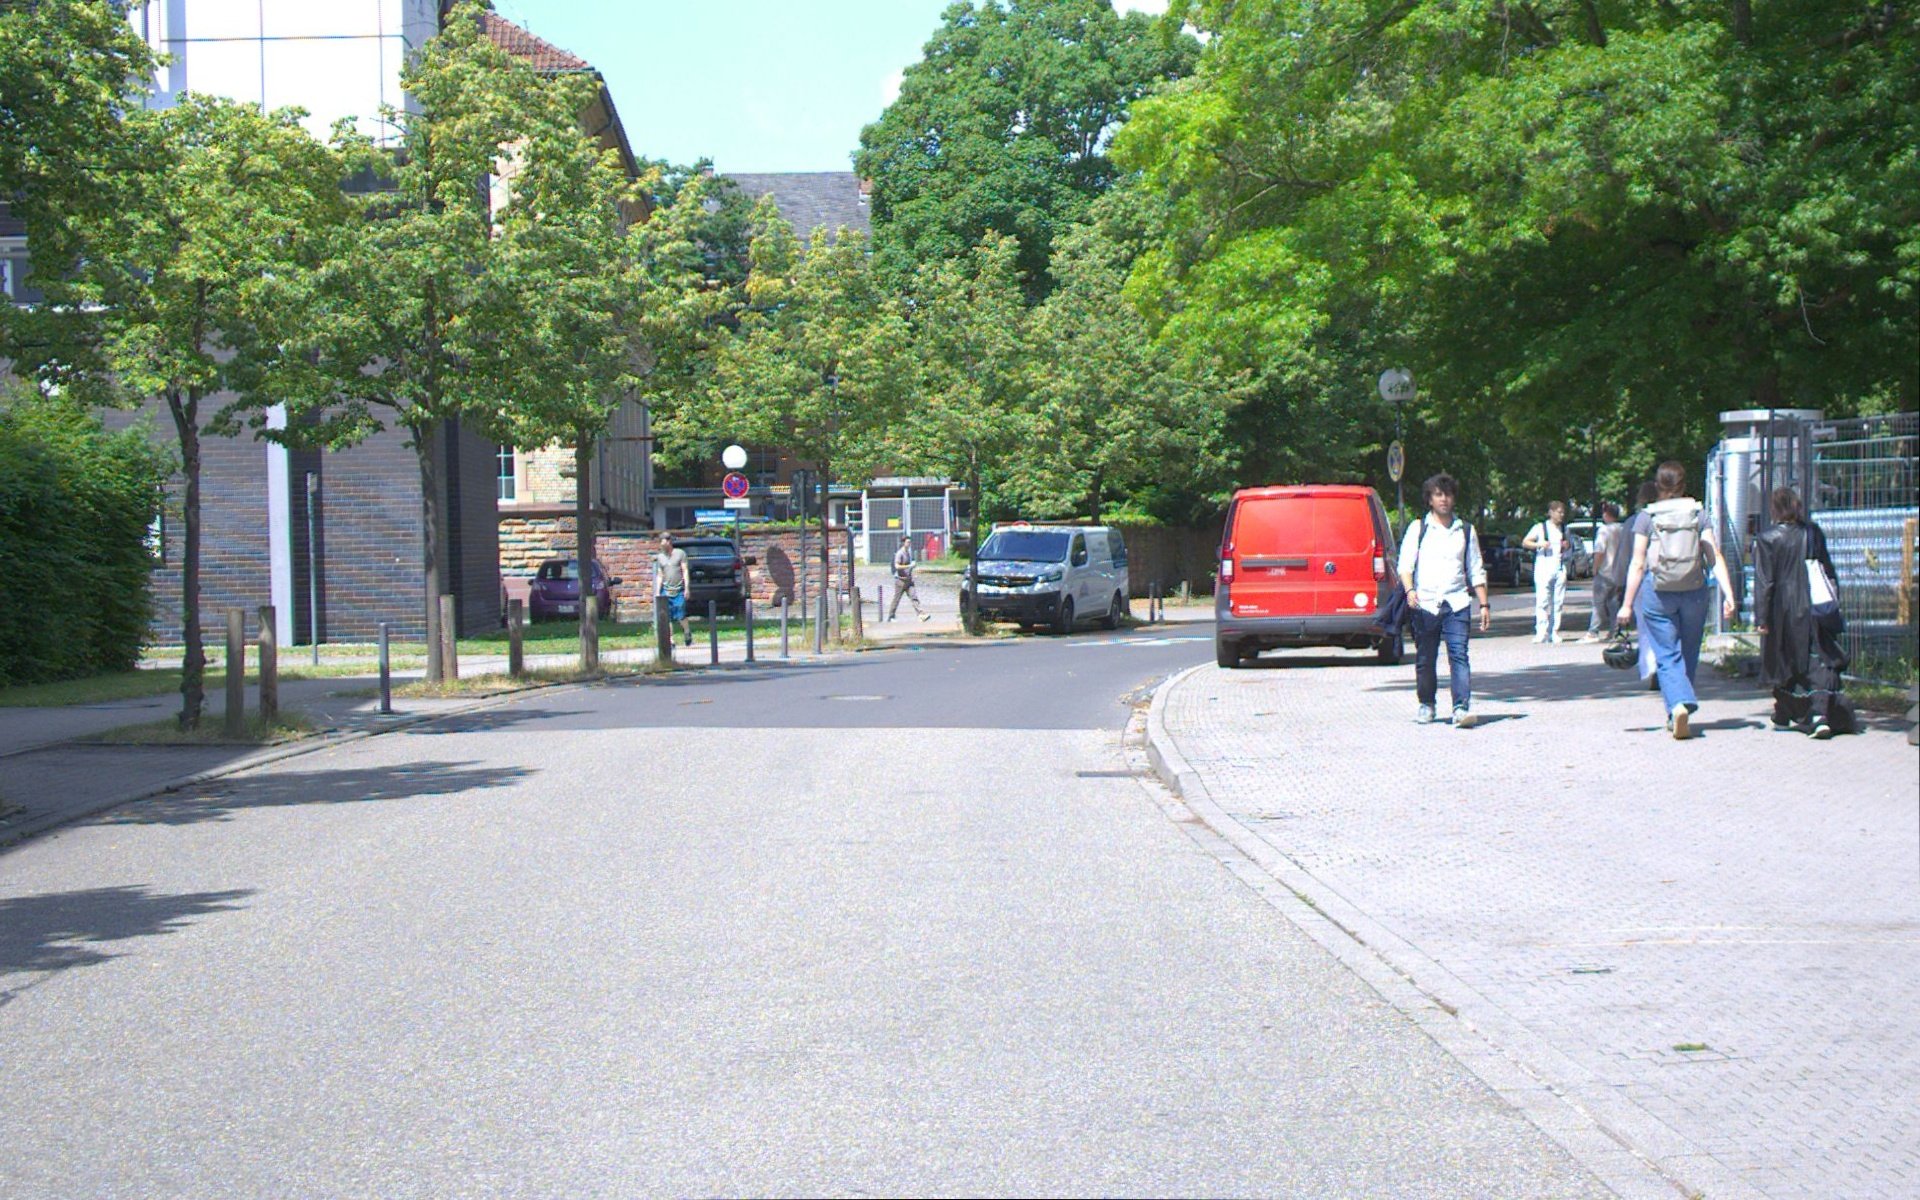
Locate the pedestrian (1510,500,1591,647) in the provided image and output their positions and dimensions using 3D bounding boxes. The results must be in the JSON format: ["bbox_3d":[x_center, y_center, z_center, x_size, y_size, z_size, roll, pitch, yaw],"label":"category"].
[{"bbox_3d":[7.363,-0.332,42.861,0.721,1.815,0.630,-2,1,-38],"label":"pedestrian"}]

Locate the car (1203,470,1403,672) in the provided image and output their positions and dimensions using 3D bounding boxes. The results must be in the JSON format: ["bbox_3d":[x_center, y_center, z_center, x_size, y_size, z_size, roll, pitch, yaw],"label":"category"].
[{"bbox_3d":[3.615,-0.326,35.580,1.849,1.885,4.889,-2,1,8],"label":"car"}]

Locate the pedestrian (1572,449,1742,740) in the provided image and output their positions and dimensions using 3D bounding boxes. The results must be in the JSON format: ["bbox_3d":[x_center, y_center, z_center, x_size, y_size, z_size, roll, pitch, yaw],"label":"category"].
[{"bbox_3d":[4.334,-0.039,21.420,0.850,1.758,0.716,-2,1,-1],"label":"pedestrian"}]

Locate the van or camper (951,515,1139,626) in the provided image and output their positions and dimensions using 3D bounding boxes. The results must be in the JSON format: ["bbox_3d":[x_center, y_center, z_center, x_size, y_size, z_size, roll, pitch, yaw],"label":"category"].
[{"bbox_3d":[1.598,-0.566,62.235,1.955,1.916,5.416,0,1,18],"label":"van or camper"}]

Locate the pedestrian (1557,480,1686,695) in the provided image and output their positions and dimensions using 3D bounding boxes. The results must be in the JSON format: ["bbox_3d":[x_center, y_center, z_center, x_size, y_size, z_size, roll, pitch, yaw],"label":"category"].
[{"bbox_3d":[5.130,-0.099,26.688,0.712,1.626,0.711,-2,1,-15],"label":"pedestrian"}]

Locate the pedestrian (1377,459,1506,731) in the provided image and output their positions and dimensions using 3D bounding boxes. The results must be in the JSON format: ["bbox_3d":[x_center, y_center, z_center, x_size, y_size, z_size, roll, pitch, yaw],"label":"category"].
[{"bbox_3d":[3.217,-0.039,23.027,0.694,1.775,0.787,-2,1,-1],"label":"pedestrian"}]

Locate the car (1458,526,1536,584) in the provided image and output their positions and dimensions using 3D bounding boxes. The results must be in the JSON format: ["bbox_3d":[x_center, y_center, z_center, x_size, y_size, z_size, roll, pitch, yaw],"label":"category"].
[{"bbox_3d":[16.063,-1.366,102.697,1.617,1.673,3.997,-1,1,18],"label":"car"}]

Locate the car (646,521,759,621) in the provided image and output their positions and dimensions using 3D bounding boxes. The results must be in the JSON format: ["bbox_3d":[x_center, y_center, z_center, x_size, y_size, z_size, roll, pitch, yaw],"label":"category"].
[{"bbox_3d":[-5.252,-0.608,70.137,2.174,1.919,5.187,-1,1,-4],"label":"car"}]

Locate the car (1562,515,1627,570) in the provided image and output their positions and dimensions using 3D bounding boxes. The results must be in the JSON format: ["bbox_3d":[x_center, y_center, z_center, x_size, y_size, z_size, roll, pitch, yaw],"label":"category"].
[{"bbox_3d":[21.601,-1.951,116.959,1.617,1.809,3.997,-1,1,18],"label":"car"}]

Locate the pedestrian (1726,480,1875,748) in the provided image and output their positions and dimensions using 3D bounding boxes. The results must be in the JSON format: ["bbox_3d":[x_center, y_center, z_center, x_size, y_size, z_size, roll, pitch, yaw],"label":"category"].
[{"bbox_3d":[5.169,0.078,21.190,0.668,1.594,0.985,-2,1,2],"label":"pedestrian"}]

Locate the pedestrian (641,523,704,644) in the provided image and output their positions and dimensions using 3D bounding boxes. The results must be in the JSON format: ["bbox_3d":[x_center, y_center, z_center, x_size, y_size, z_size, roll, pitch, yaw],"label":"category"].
[{"bbox_3d":[-4.235,-0.245,50.643,0.584,1.758,0.910,-1,1,17],"label":"pedestrian"}]

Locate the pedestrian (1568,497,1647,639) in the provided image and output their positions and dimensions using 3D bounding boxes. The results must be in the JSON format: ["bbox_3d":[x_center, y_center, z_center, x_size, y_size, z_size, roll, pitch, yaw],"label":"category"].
[{"bbox_3d":[7.907,-0.394,41.993,0.743,1.704,0.564,-2,1,-38],"label":"pedestrian"}]

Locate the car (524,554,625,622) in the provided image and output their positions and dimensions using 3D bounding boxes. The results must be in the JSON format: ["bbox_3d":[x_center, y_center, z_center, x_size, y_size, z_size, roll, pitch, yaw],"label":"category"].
[{"bbox_3d":[-7.833,-0.261,70.143,1.817,1.319,3.768,-1,1,-3],"label":"car"}]

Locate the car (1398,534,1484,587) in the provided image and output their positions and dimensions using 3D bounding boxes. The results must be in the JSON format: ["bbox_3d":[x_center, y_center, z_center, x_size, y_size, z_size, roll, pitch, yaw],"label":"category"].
[{"bbox_3d":[13.243,-1.090,94.492,1.617,1.383,3.997,-1,1,18],"label":"car"}]
